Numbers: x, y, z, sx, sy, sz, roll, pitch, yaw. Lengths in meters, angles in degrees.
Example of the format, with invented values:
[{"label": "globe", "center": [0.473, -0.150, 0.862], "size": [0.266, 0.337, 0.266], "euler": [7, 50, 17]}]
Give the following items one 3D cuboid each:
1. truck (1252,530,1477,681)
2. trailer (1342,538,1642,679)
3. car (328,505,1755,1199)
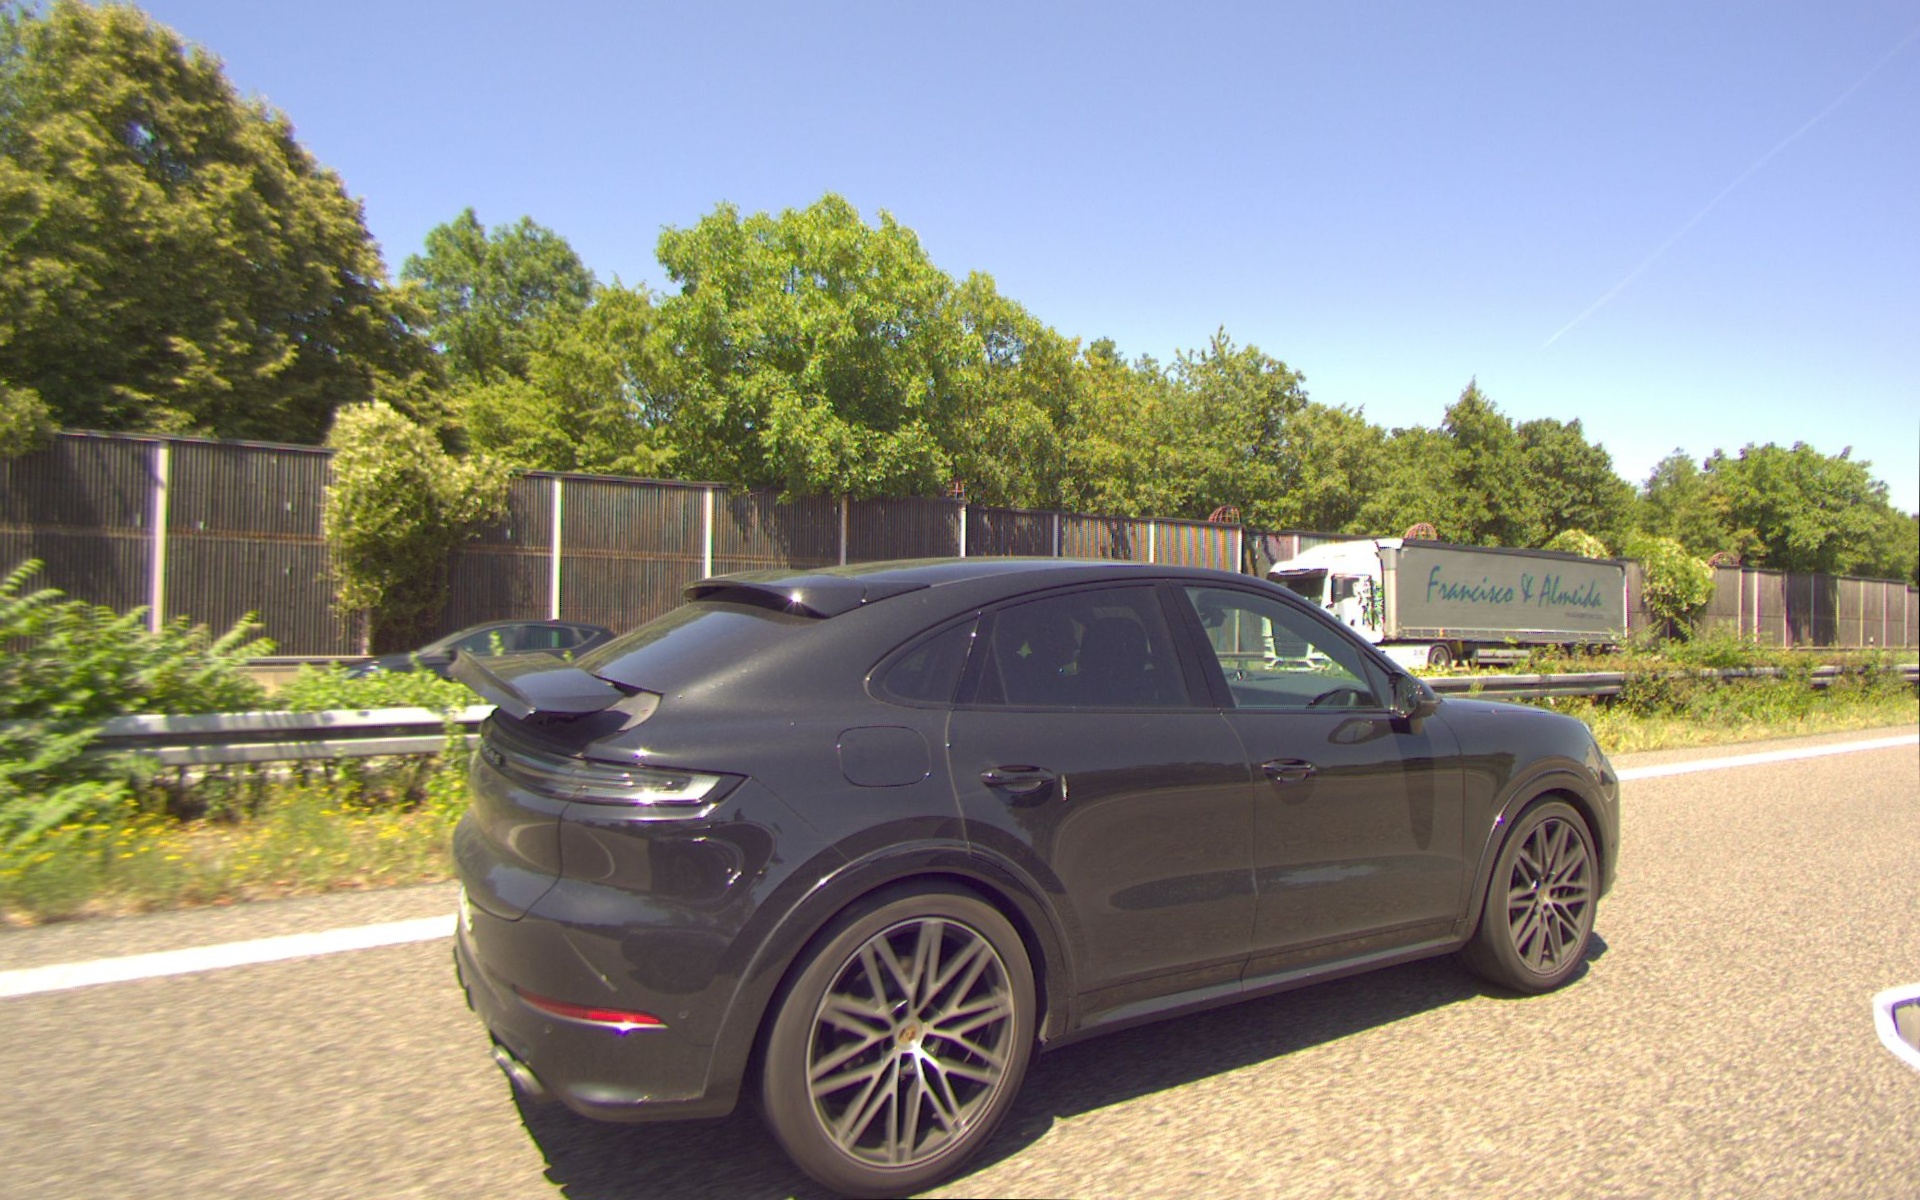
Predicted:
[{"label": "truck", "center": [12.600, 0.252, 31.082], "size": [7.060, 4.238, 2.819], "euler": [1, -1, -31]}, {"label": "trailer", "center": [18.784, 0.417, 34.863], "size": [13.159, 4.238, 2.895], "euler": [1, -1, -31]}, {"label": "car", "center": [0.798, 0.701, 4.195], "size": [5.703, 1.646, 2.034], "euler": [1, -1, -30]}]
